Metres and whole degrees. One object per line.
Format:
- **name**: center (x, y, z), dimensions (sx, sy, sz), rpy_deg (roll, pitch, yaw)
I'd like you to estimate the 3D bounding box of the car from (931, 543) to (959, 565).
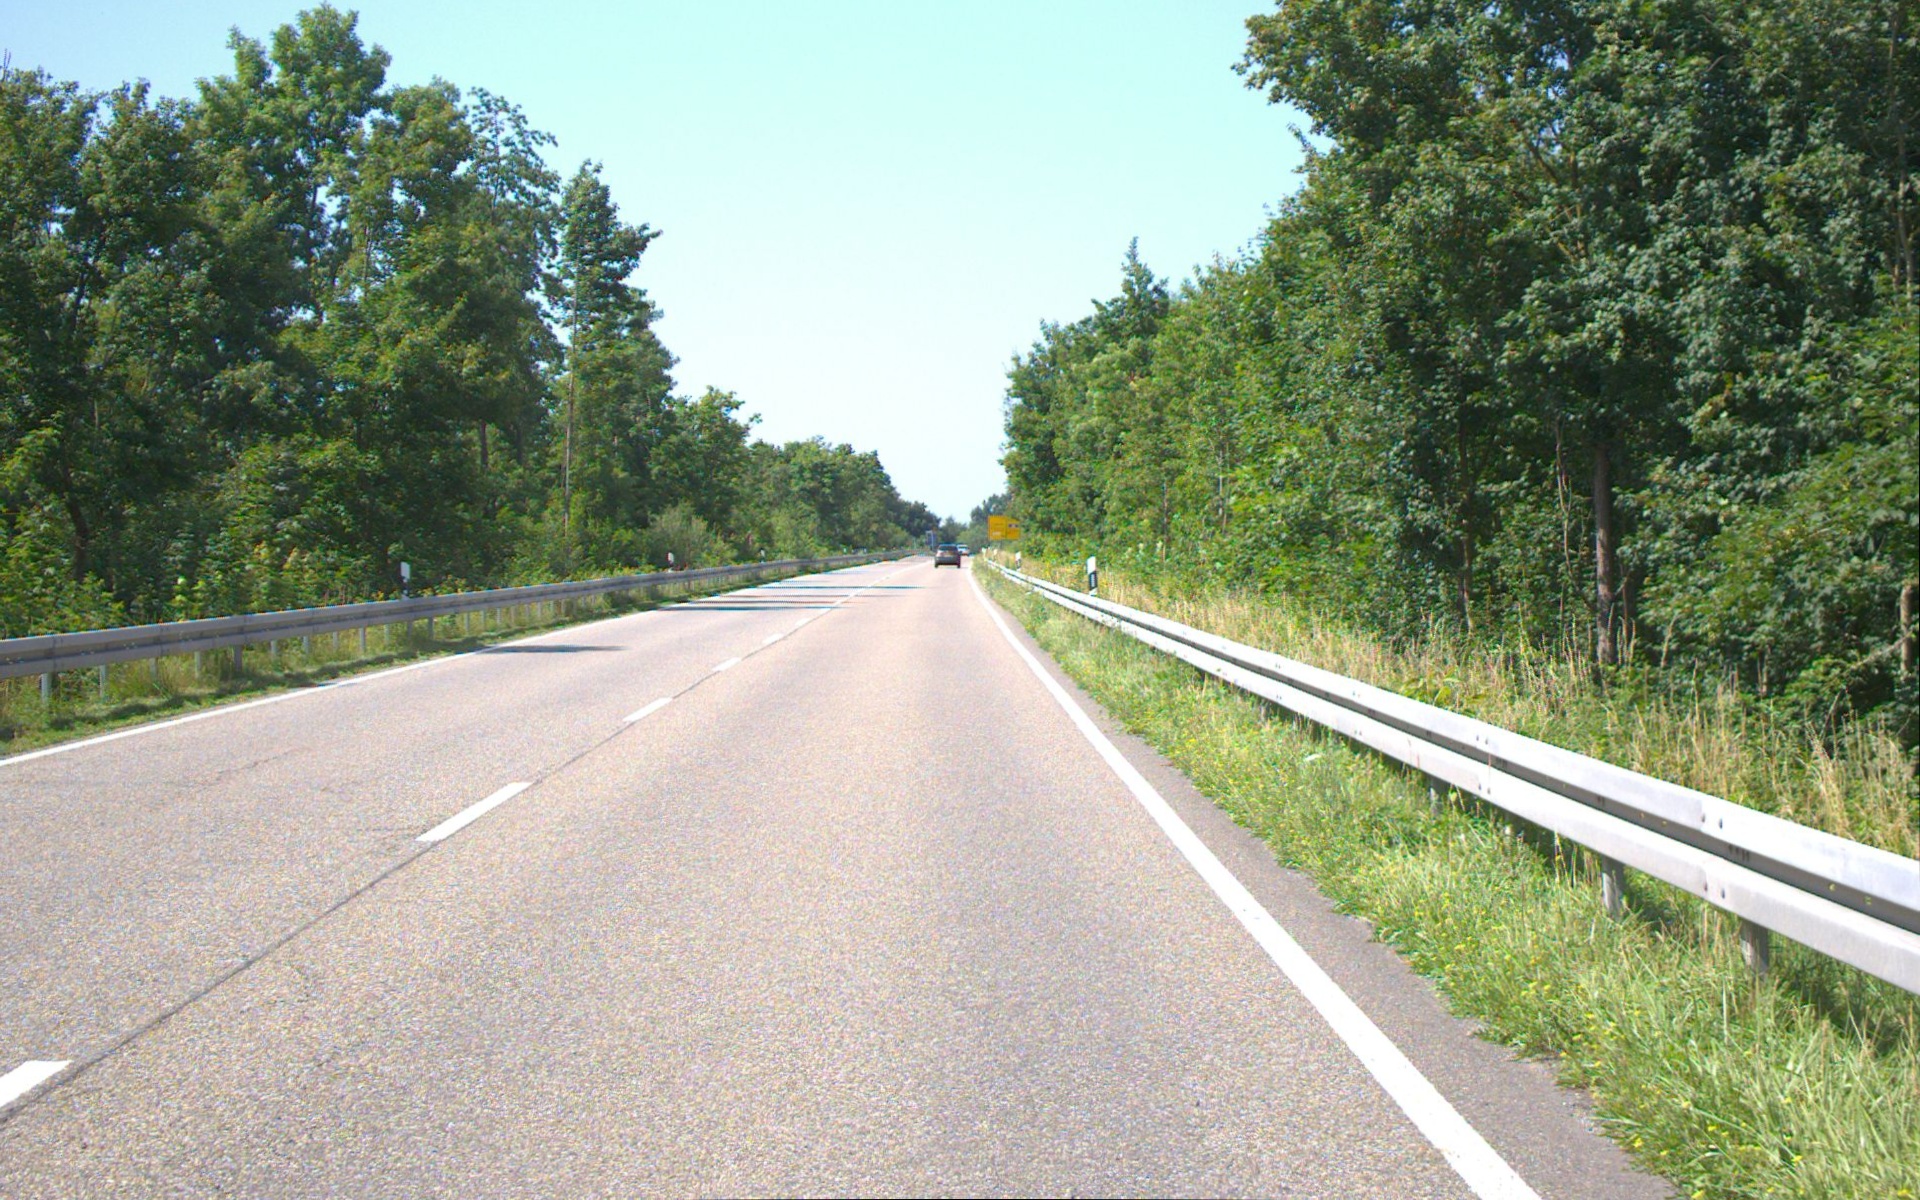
- **car**: center (-0.999, -3.136, 233.097), dimensions (1.741, 1.465, 3.692), rpy_deg (0, 1, 2)
